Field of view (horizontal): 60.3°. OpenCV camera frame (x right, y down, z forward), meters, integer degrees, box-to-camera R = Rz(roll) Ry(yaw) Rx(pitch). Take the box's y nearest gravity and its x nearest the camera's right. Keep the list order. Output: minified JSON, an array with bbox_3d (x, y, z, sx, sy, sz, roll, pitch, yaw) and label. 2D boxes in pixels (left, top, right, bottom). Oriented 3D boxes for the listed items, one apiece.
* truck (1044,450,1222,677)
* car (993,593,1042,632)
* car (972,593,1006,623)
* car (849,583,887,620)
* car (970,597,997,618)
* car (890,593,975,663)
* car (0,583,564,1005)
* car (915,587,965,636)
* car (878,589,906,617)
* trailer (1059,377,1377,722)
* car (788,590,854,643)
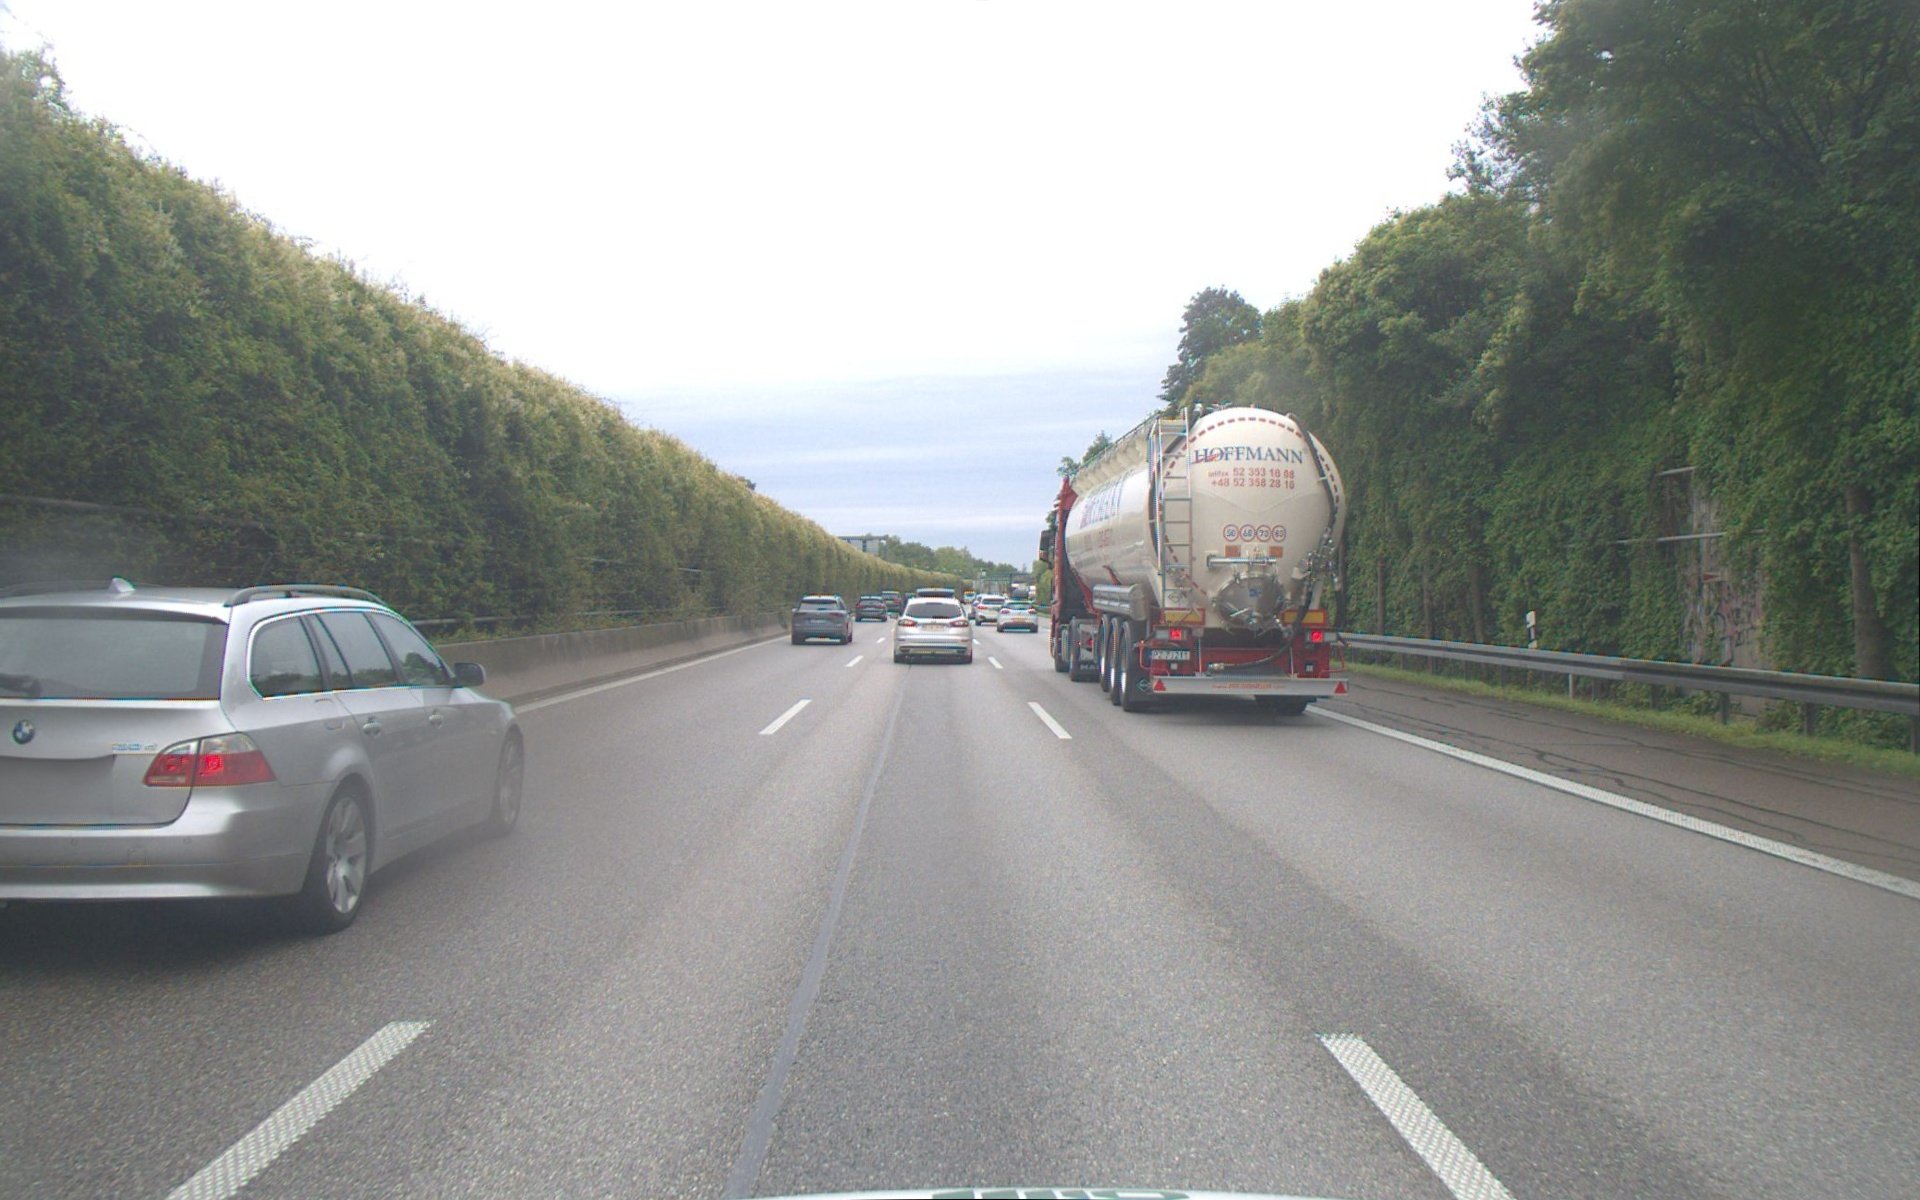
[{"bbox_3d":[3.246,-0.632,32.654,2.640,3.981,6.554,1,0,-1],"label":"truck"},{"bbox_3d":[2.480,0.521,72.441,1.779,1.654,5.028,1,0,-2],"label":"car"},{"bbox_3d":[1.515,0.431,87.723,1.655,1.533,3.870,1,0,-1],"label":"car"},{"bbox_3d":[-5.290,0.062,95.455,1.953,2.049,3.840,1,0,-1],"label":"car"},{"bbox_3d":[1.563,0.528,111.907,1.654,1.354,3.870,1,0,-1],"label":"car"},{"bbox_3d":[-0.677,0.612,39.046,1.853,1.530,5.028,1,0,-2],"label":"car"},{"bbox_3d":[-3.463,0.680,8.504,1.685,1.494,5.029,1,1,-1],"label":"car"},{"bbox_3d":[-0.718,0.411,60.847,1.655,1.532,3.871,5,1,-1],"label":"car"},{"bbox_3d":[-5.132,0.226,125.083,1.953,2.049,3.999,1,0,-1],"label":"car"},{"bbox_3d":[3.417,-0.556,25.911,2.614,4.008,13.126,1,0,-1],"label":"trailer"},{"bbox_3d":[-4.294,0.477,51.655,1.685,1.538,5.029,1,0,-1],"label":"car"}]
